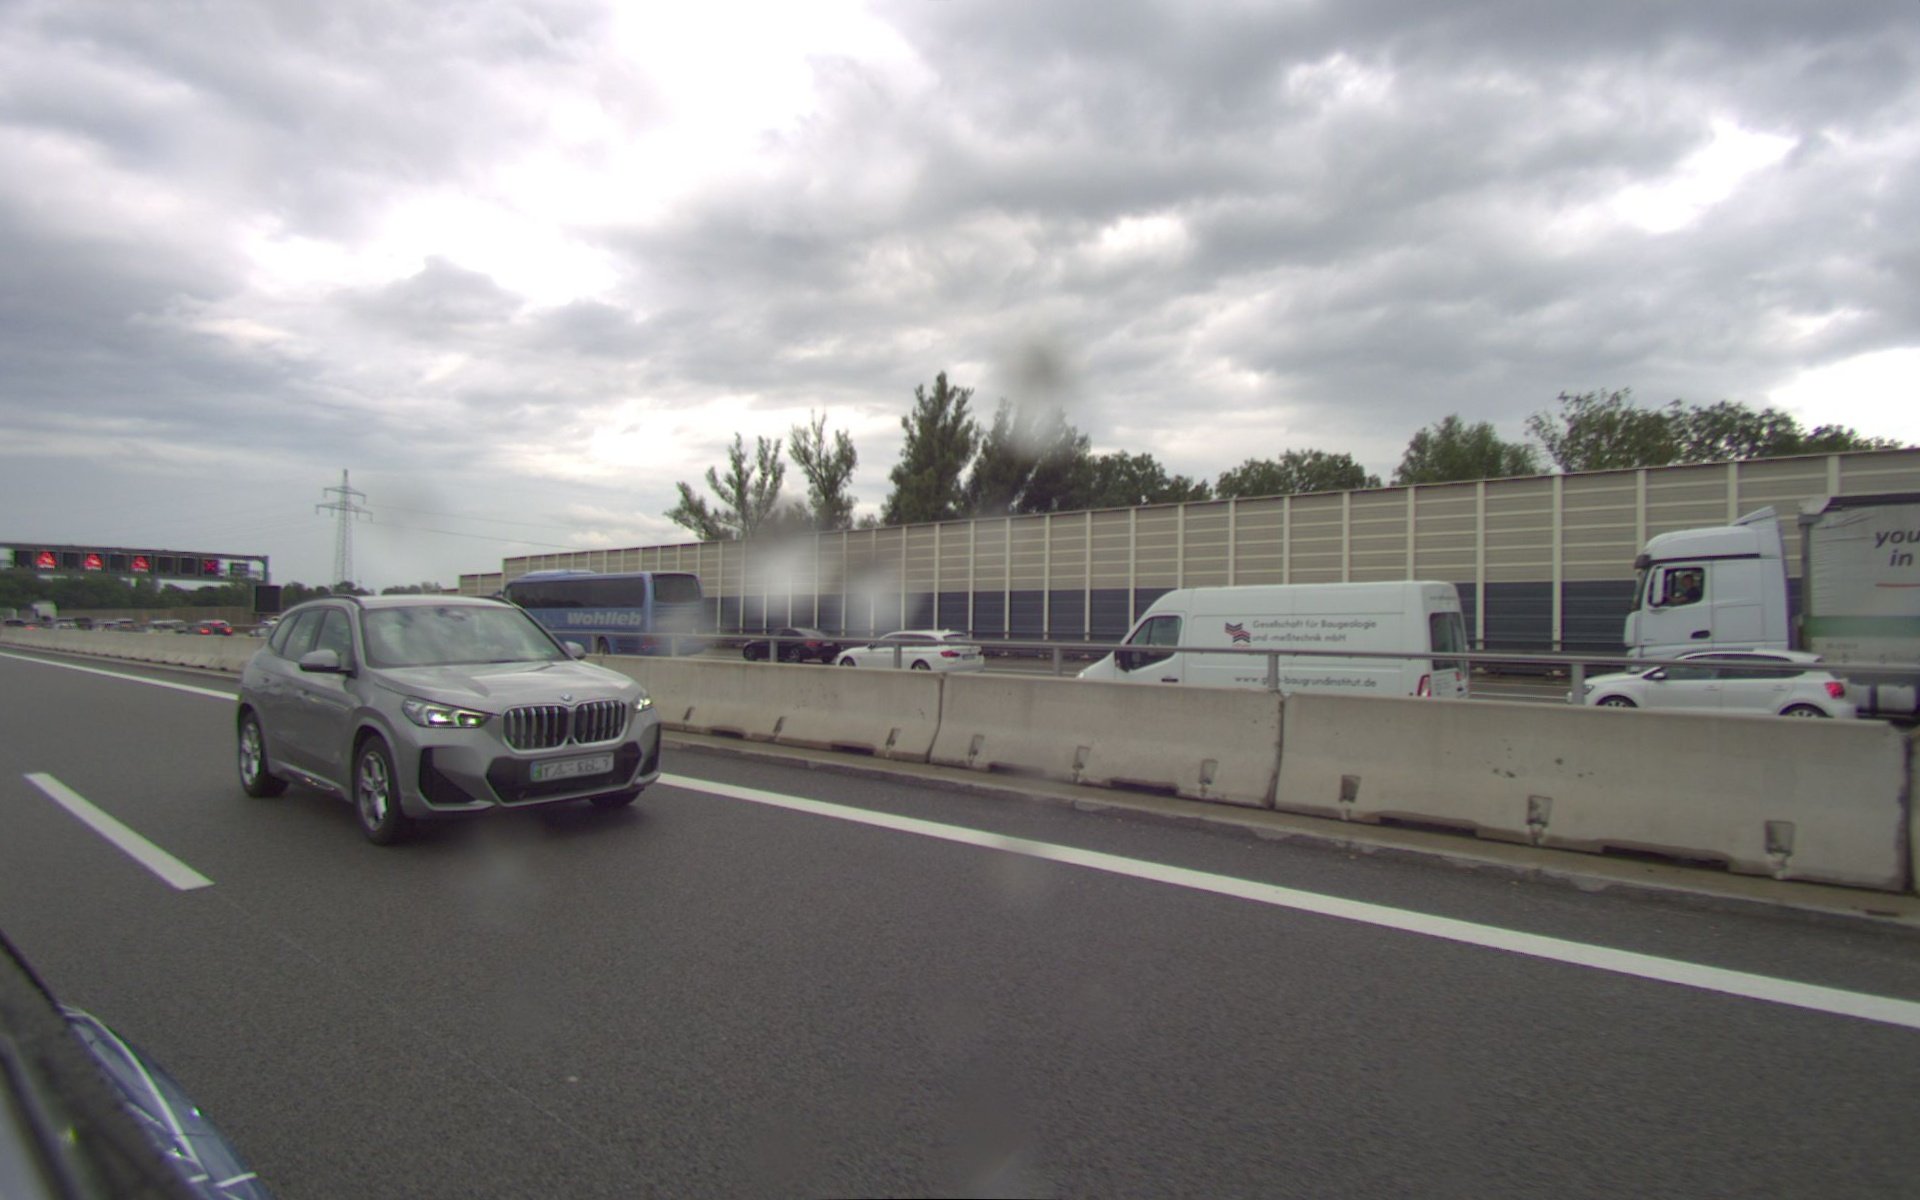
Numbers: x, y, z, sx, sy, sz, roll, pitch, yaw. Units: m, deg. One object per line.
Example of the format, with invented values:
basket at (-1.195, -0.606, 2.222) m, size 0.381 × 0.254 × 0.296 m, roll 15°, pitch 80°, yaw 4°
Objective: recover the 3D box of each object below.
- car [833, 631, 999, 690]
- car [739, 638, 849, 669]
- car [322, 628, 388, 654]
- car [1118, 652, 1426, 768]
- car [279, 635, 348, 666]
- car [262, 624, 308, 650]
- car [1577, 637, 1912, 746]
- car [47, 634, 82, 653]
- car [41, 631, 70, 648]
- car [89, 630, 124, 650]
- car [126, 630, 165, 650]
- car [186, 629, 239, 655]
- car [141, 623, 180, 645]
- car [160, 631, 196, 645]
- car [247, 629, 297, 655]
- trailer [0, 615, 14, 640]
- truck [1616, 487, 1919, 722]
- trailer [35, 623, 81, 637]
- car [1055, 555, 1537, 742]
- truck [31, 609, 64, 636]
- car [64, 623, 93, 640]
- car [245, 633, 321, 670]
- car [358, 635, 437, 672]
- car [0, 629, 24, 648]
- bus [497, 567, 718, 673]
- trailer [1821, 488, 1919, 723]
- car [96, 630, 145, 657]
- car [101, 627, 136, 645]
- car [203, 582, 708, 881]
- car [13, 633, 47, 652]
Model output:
car at (-1.326, 1.661, 29.005) m, size 4.818 × 1.537 × 1.863 m, roll -2°, pitch -2°, yaw 41°
car at (-6.523, 2.054, 39.523) m, size 4.491 × 1.122 × 1.863 m, roll -2°, pitch -2°, yaw 41°
car at (-34.666, 2.318, 57.949) m, size 4.711 × 1.441 × 1.730 m, roll -2°, pitch -2°, yaw 39°
car at (5.397, 1.802, 17.898) m, size 4.799 × 1.672 × 2.057 m, roll -2°, pitch -2°, yaw 41°
car at (-33.827, 2.585, 52.911) m, size 4.924 × 1.537 × 1.729 m, roll -2°, pitch -2°, yaw 41°
car at (-52.548, 2.861, 78.767) m, size 4.778 × 1.908 × 1.730 m, roll -2°, pitch -2°, yaw 40°
car at (12.762, 1.401, 16.706) m, size 4.175 × 1.537 × 1.729 m, roll -2°, pitch -2°, yaw 41°
car at (-68.624, 3.299, 77.551) m, size 3.574 × 1.404 × 1.555 m, roll -2°, pitch -2°, yaw 41°
car at (-88.825, 3.825, 99.345) m, size 4.165 × 1.643 × 1.728 m, roll -2°, pitch -2°, yaw 42°
car at (-71.586, 3.321, 84.855) m, size 4.165 × 1.643 × 1.728 m, roll -2°, pitch -2°, yaw 42°
car at (-69.413, 3.366, 86.264) m, size 4.388 × 1.643 × 1.730 m, roll -2°, pitch -2°, yaw 40°
car at (-48.747, 2.735, 65.972) m, size 4.175 × 1.623 × 1.914 m, roll -2°, pitch -2°, yaw 41°
car at (-58.745, 2.519, 74.376) m, size 3.617 × 1.592 × 1.604 m, roll -2°, pitch -2°, yaw 41°
car at (-78.761, 3.821, 101.892) m, size 4.568 × 1.411 × 1.845 m, roll -1°, pitch -2°, yaw 39°
car at (-45.566, 2.759, 66.971) m, size 4.175 × 1.623 × 1.729 m, roll -2°, pitch -2°, yaw 41°
trailer at (-122.699, 3.514, 129.028) m, size 6.047 × 3.162 × 2.424 m, roll -2°, pitch -2°, yaw 41°
truck at (15.777, 0.105, 19.252) m, size 5.174 × 3.965 × 2.550 m, roll -2°, pitch -1°, yaw 41°
trailer at (-126.574, 4.193, 141.941) m, size 16.339 × 1.842 × 2.724 m, roll -2°, pitch -2°, yaw 41°
car at (4.388, 0.619, 14.082) m, size 6.011 × 2.087 × 2.137 m, roll -2°, pitch -2°, yaw 41°
truck at (-133.080, 3.297, 147.607) m, size 6.047 × 3.917 × 2.724 m, roll -2°, pitch -2°, yaw 41°
car at (-97.921, 3.510, 112.407) m, size 4.162 × 1.862 × 1.730 m, roll -2°, pitch -2°, yaw 40°
car at (-29.355, 2.183, 43.843) m, size 4.175 × 1.537 × 1.729 m, roll -2°, pitch -2°, yaw 41°
car at (-24.782, 2.309, 44.569) m, size 4.175 × 1.537 × 1.729 m, roll -2°, pitch -2°, yaw 41°
car at (-89.577, 3.640, 95.177) m, size 5.109 × 1.758 × 1.860 m, roll -2°, pitch -2°, yaw 42°
bus at (-14.621, 0.858, 41.147) m, size 11.875 × 3.787 × 3.060 m, roll -2°, pitch -2°, yaw 41°
trailer at (21.312, -0.032, 14.319) m, size 13.809 × 3.965 × 2.536 m, roll -2°, pitch -1°, yaw 41°
car at (-53.106, 2.717, 63.999) m, size 4.175 × 1.620 × 1.729 m, roll -2°, pitch -2°, yaw 41°
car at (-81.285, 3.482, 97.782) m, size 4.522 × 1.643 × 1.803 m, roll -2°, pitch -2°, yaw 40°
car at (-4.161, 0.779, 7.874) m, size 4.912 × 1.637 × 1.817 m, roll -2°, pitch -1°, yaw 41°
car at (-81.078, 3.675, 88.198) m, size 3.746 × 1.643 × 1.729 m, roll -2°, pitch -2°, yaw 41°
